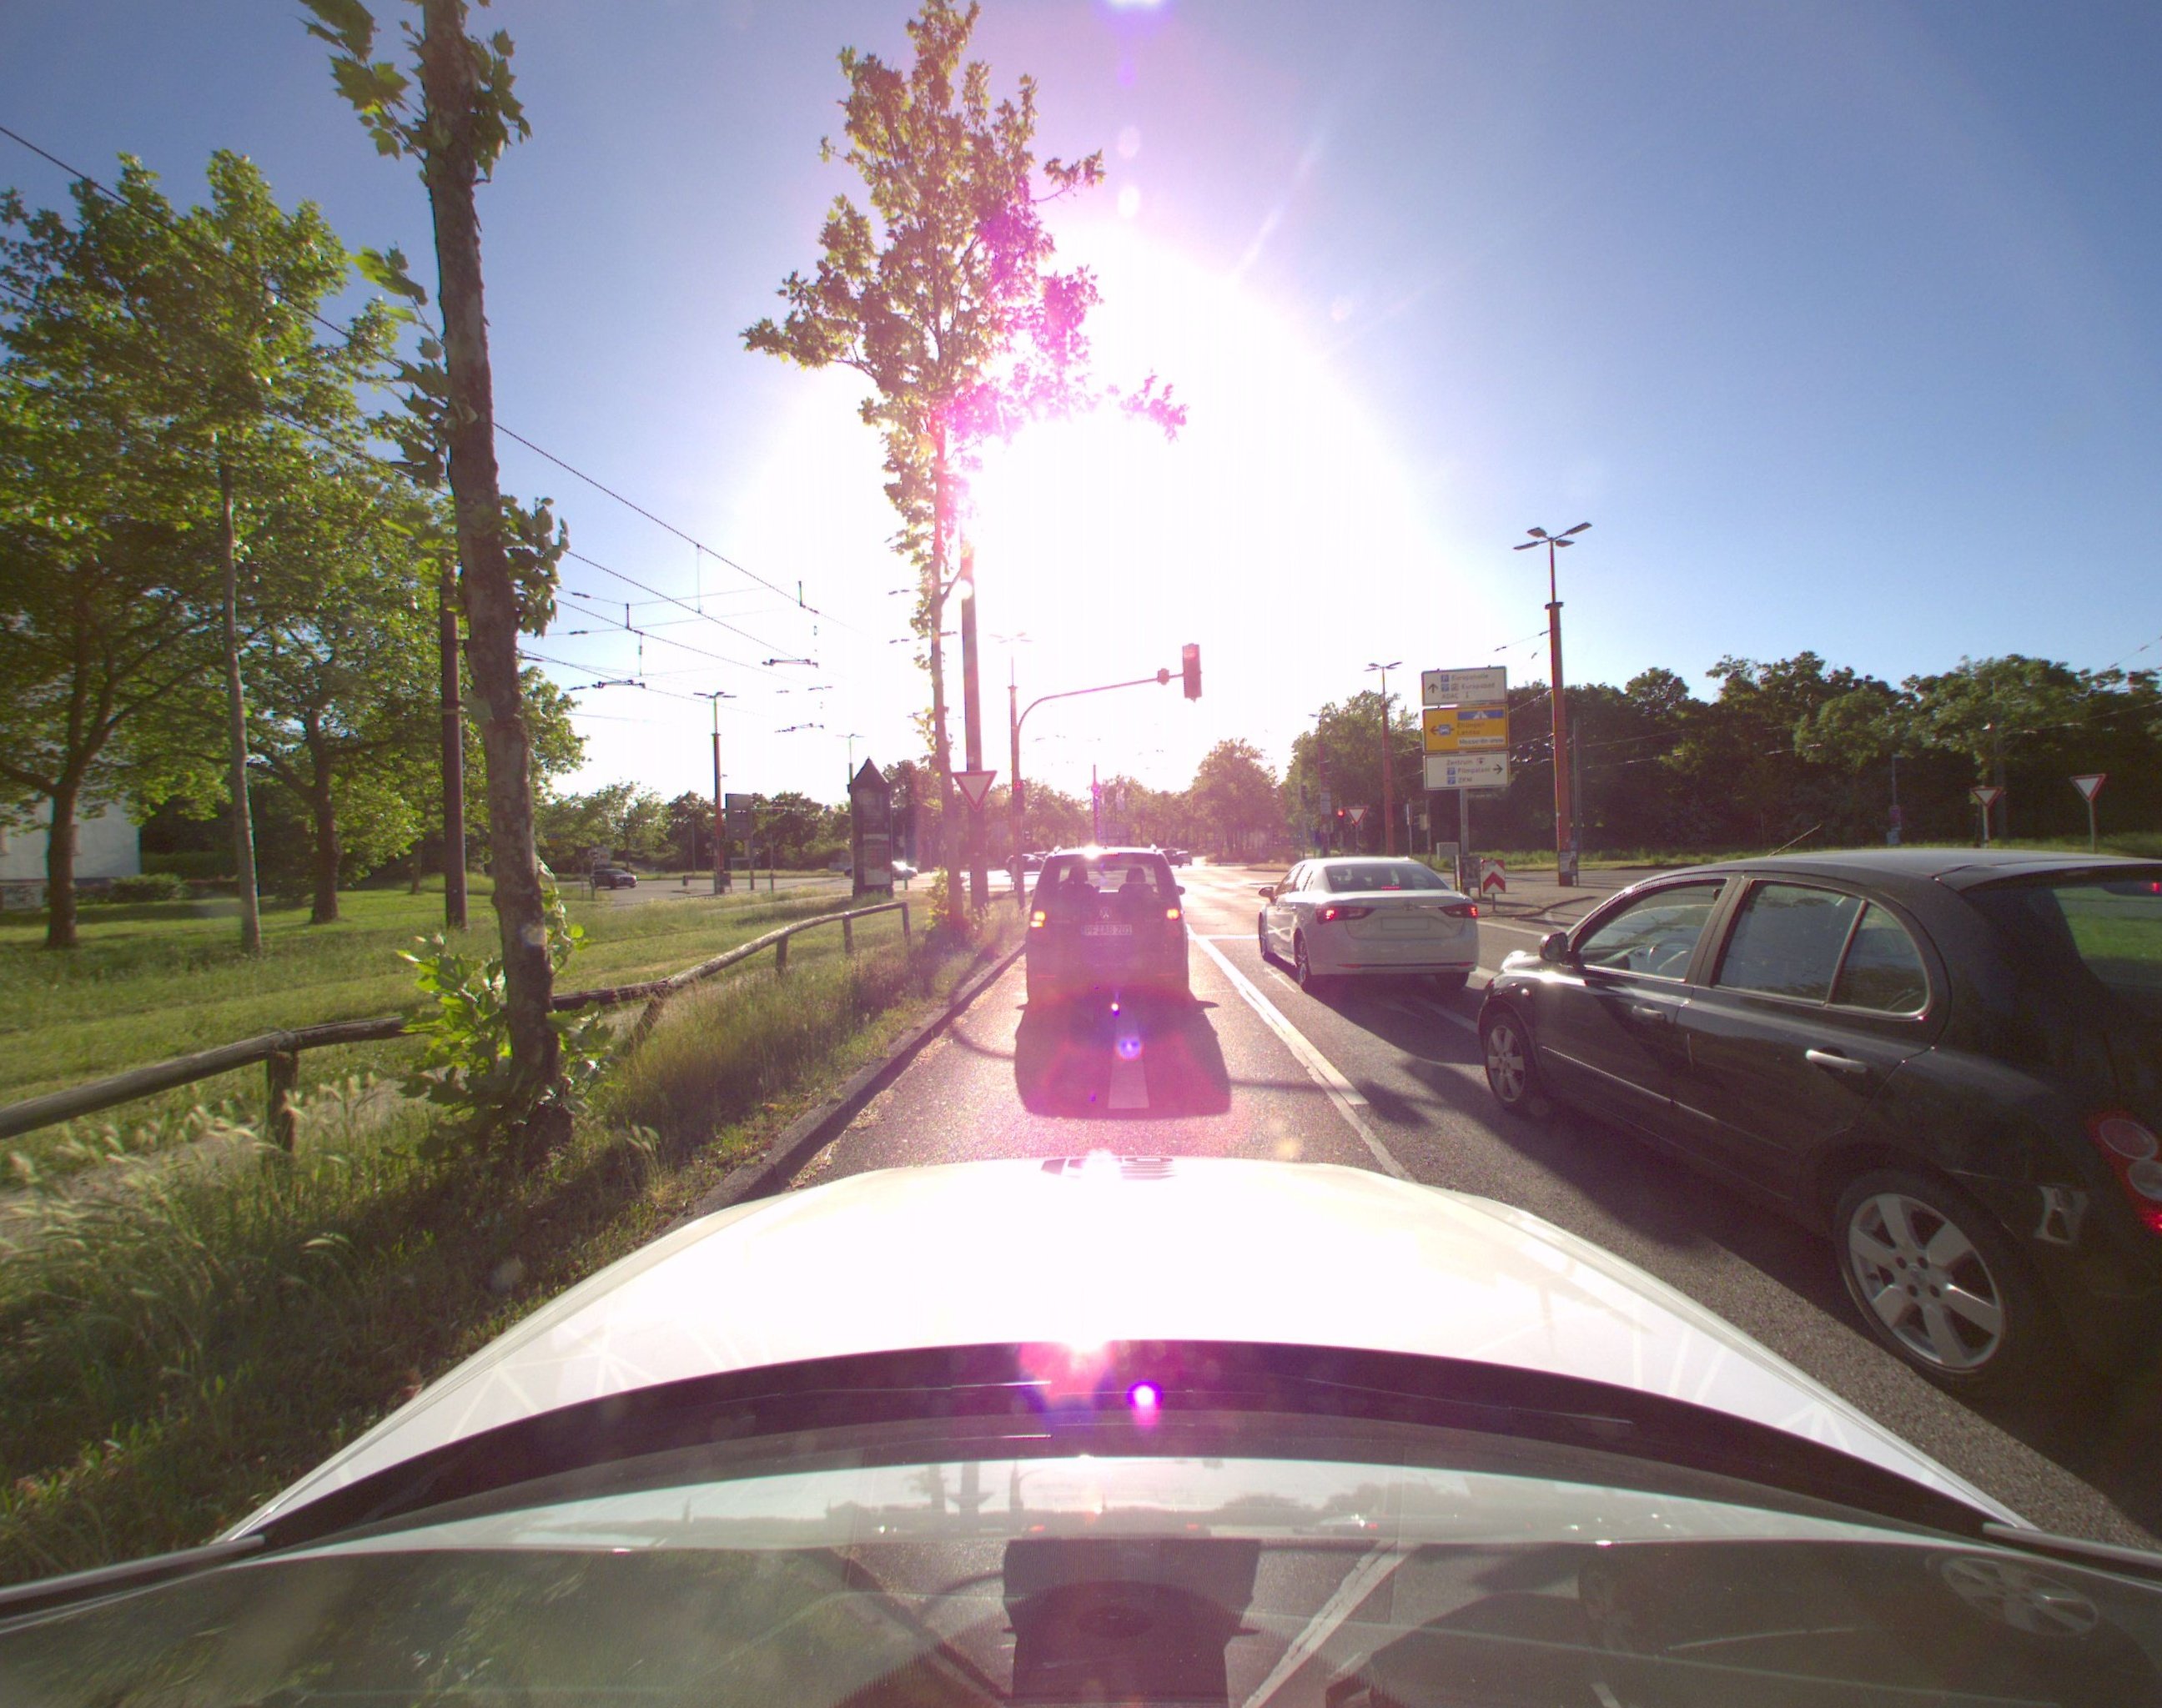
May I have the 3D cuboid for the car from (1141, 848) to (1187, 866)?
[{"bbox_3d":[7.238,0.265,70.904,1.889,1.464,4.402,-1,0,37],"label":"car"}]

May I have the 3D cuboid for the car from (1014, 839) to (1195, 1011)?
[{"bbox_3d":[0.295,0.695,9.987,1.731,1.641,4.002,-2,0,2],"label":"car"}]

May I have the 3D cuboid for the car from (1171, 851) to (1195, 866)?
[{"bbox_3d":[10.482,0.480,83.982,1.902,1.464,4.221,-2,0,0],"label":"car"}]

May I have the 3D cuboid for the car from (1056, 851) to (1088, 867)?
[{"bbox_3d":[-1.022,0.507,91.816,1.977,1.684,4.853,-2,0,20],"label":"car"}]

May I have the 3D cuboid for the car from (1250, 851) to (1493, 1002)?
[{"bbox_3d":[3.296,0.718,10.114,1.708,1.454,4.147,-2,0,3],"label":"car"}]

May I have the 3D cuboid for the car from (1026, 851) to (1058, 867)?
[{"bbox_3d":[-4.459,0.532,93.598,1.977,1.684,4.853,-2,0,20],"label":"car"}]

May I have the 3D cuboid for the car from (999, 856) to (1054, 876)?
[{"bbox_3d":[-4.207,0.909,62.625,4.042,1.464,1.908,-2,0,-10],"label":"car"}]

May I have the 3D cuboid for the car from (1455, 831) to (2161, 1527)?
[{"bbox_3d":[3.166,0.693,3.511,1.550,1.506,3.517,-2,0,2],"label":"car"}]

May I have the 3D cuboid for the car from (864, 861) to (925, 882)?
[{"bbox_3d":[-14.377,1.341,62.926,4.212,1.464,1.914,-2,0,1],"label":"car"}]

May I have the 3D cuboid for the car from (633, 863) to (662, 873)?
[{"bbox_3d":[-57.349,1.866,107.711,3.766,1.310,1.673,-2,0,30],"label":"car"}]

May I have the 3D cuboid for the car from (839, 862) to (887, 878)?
[{"bbox_3d":[-18.262,1.348,68.165,3.765,1.310,1.753,-2,0,34],"label":"car"}]

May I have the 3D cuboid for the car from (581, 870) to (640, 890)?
[{"bbox_3d":[-39.794,2.206,68.872,4.589,1.543,2.012,-2,0,26],"label":"car"}]
